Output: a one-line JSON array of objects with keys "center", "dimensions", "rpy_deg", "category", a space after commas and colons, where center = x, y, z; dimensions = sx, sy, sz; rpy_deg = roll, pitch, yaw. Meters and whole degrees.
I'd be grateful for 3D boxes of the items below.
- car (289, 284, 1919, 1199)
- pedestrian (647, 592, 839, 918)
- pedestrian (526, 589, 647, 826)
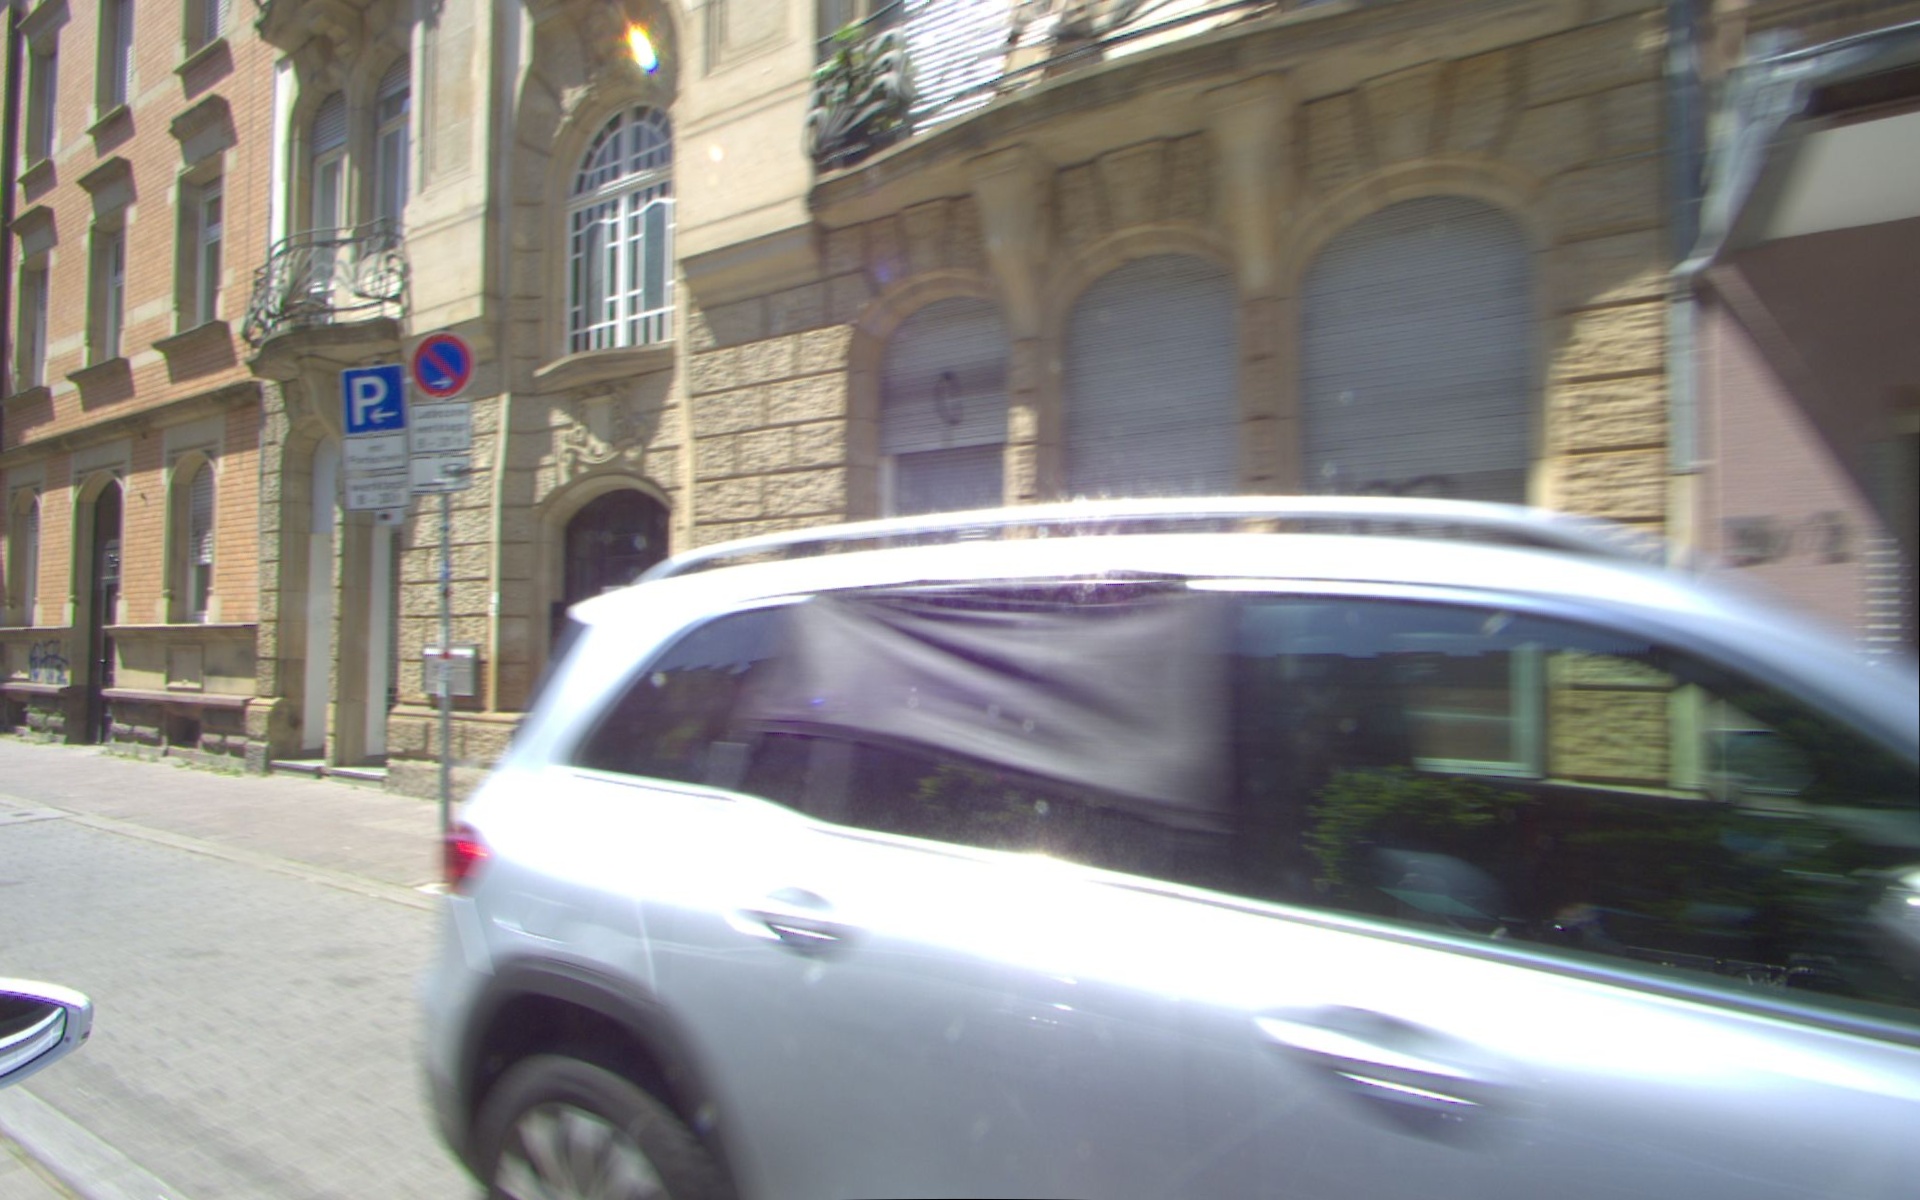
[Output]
[{"center": [0.800, 0.633, 1.964], "dimensions": [4.439, 1.735, 1.868], "rpy_deg": [-1, -2, 32], "category": "car"}, {"center": [-1.196, 0.806, 5.561], "dimensions": [0.792, 1.643, 0.640], "rpy_deg": [0, -3, 32], "category": "pedestrian"}, {"center": [-2.939, 0.810, 7.894], "dimensions": [0.737, 1.773, 0.512], "rpy_deg": [0, 0, 25], "category": "pedestrian"}]
